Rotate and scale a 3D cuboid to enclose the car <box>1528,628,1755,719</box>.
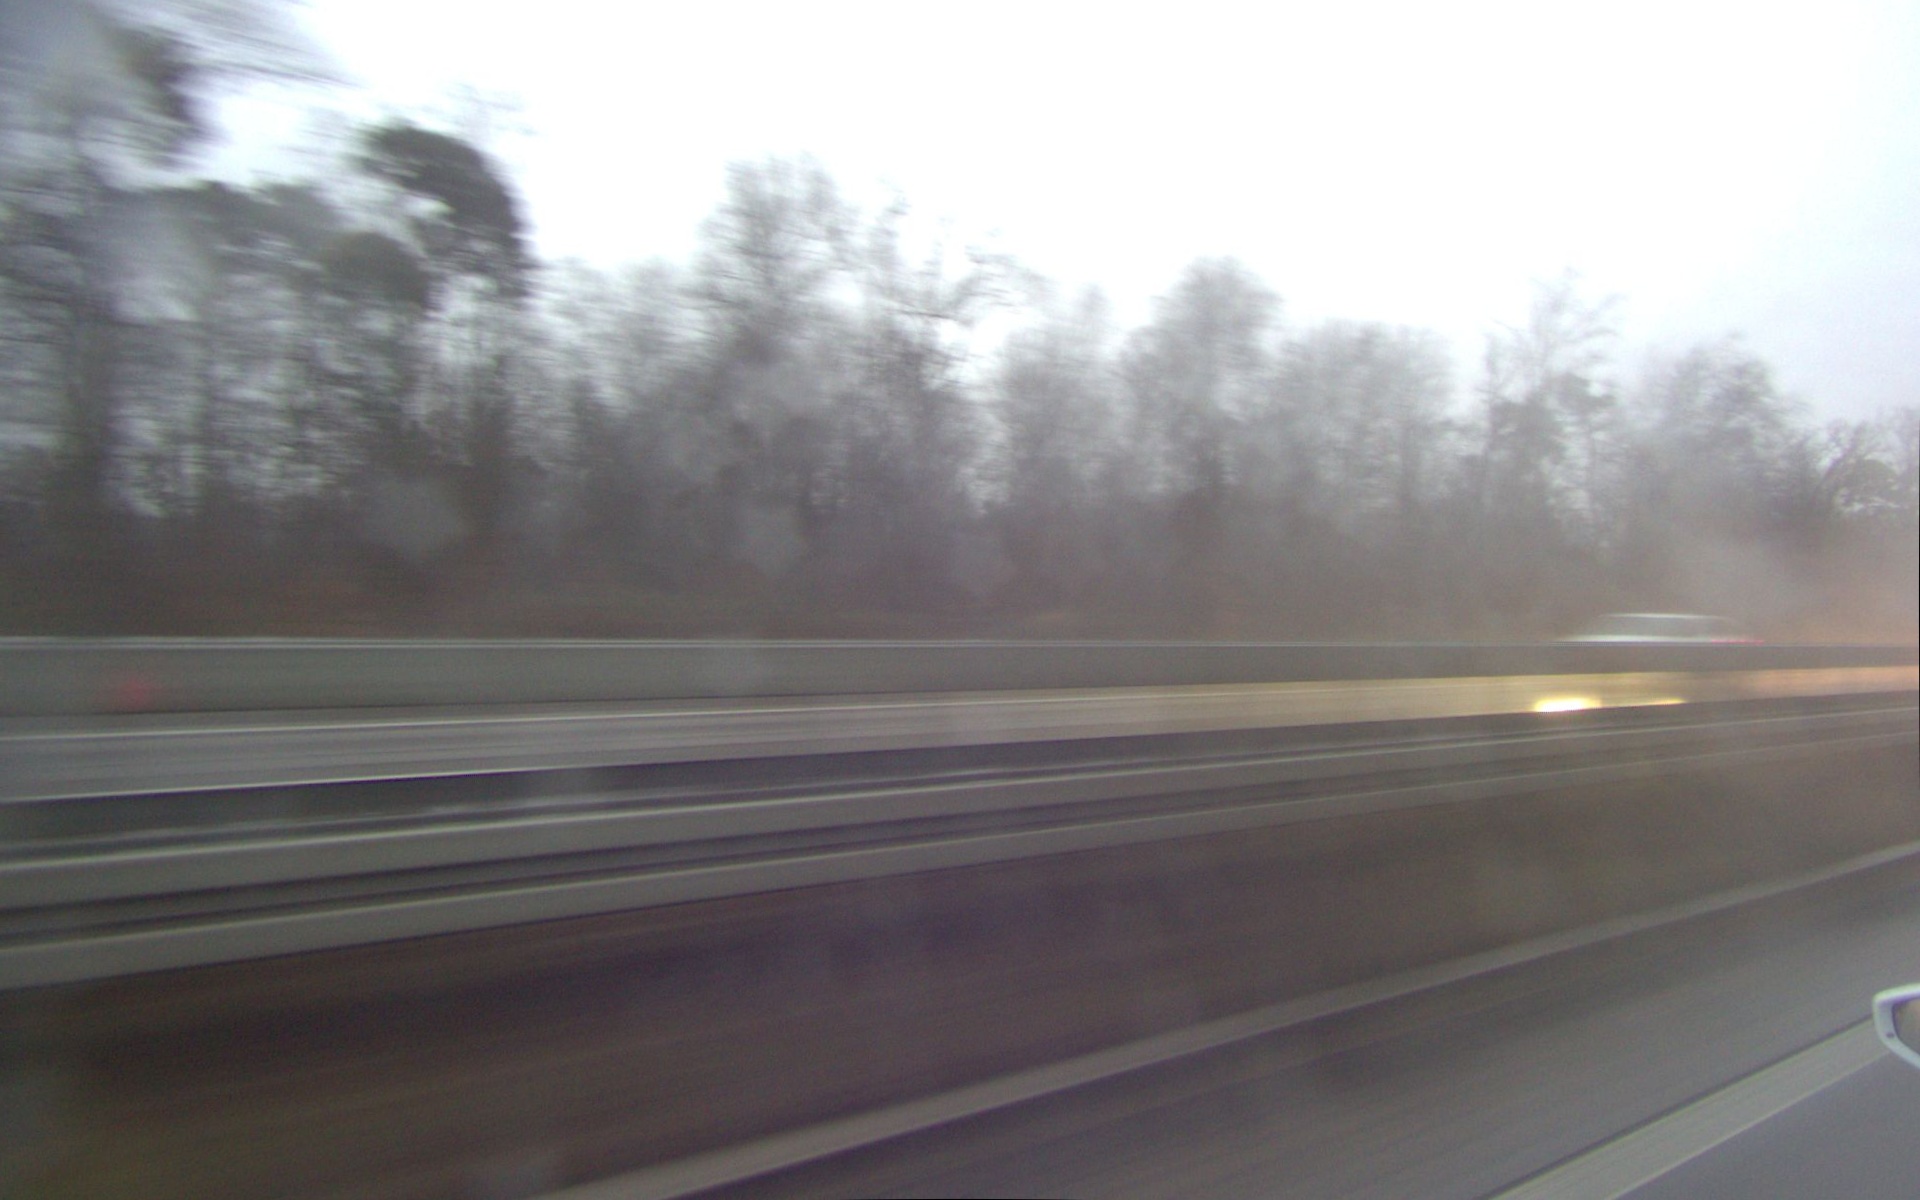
[{"bbox_3d":[14.767,1.504,21.675,5.383,1.717,1.868,1,0,-29],"label":"car"}]
